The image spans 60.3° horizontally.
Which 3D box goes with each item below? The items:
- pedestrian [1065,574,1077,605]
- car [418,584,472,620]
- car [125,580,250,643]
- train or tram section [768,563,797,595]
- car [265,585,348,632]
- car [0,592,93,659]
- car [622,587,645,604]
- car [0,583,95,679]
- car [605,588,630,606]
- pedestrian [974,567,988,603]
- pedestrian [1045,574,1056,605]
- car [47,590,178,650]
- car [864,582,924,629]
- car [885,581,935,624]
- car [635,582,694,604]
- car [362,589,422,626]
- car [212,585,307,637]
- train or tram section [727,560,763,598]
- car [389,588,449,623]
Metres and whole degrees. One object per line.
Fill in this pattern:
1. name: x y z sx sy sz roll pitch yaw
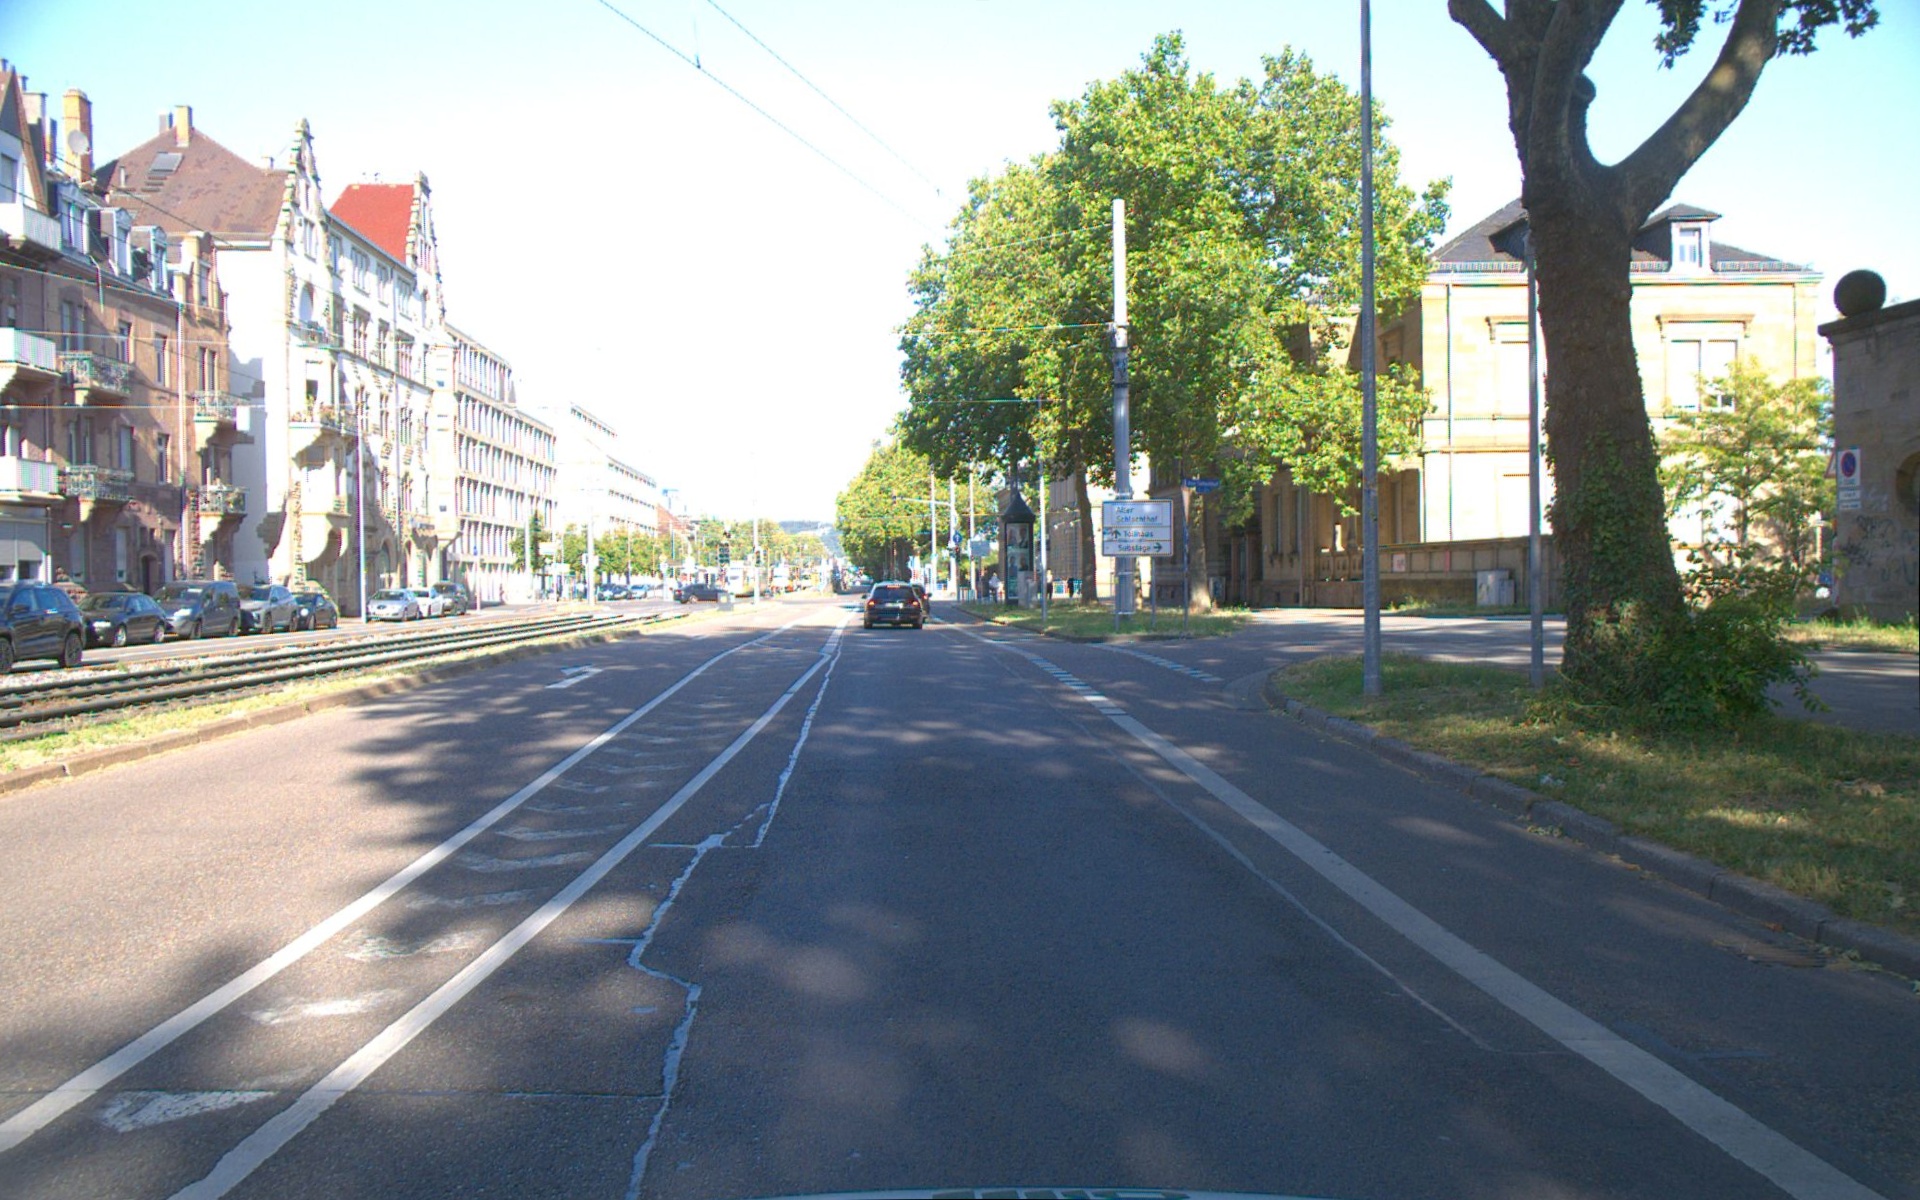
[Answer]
1. pedestrian: 6.336 -0.604 94.498 0.575 1.758 0.651 1 1 11
2. car: -26.617 0.079 85.606 1.759 1.749 4.181 2 0 -5
3. car: -23.877 0.320 51.298 1.758 1.784 4.454 2 0 -1
4. train or tram section: -20.803 -2.453 194.154 2.769 3.511 9.059 -1 1 -2
5. car: -24.674 0.298 62.589 1.653 1.681 4.196 2 0 -4
6. car: -23.468 0.594 41.123 1.759 1.485 4.263 2 0 -4
7. car: -31.275 -0.443 158.569 1.759 1.536 3.995 -1 1 -6
8. car: -17.280 0.544 29.652 1.603 1.629 4.154 -2 1 -5
9. car: -31.395 -0.297 151.752 1.759 1.536 3.995 -1 1 -6
10. pedestrian: 1.036 -0.741 82.214 0.575 1.758 0.651 1 1 9
11. pedestrian: 5.176 -0.620 94.671 0.575 1.758 0.651 1 1 9
12. car: -23.669 0.516 46.370 1.759 1.536 3.997 2 0 -4
13. car: -2.149 0.160 52.884 1.797 1.415 4.156 0 0 -4
14. car: -1.914 0.080 62.530 1.758 1.536 3.998 -1 0 -3
15. car: -20.897 -0.482 117.149 1.765 1.537 3.981 0 0 38
16. car: -25.586 0.304 74.604 1.760 1.536 3.993 2 0 -8
17. car: -24.218 0.362 57.321 1.653 1.681 4.196 2 0 -4
18. train or tram section: -21.149 -2.057 162.822 2.769 3.511 9.058 -1 1 -3
19. car: -26.148 0.248 80.061 1.759 1.536 4.181 2 0 -5
